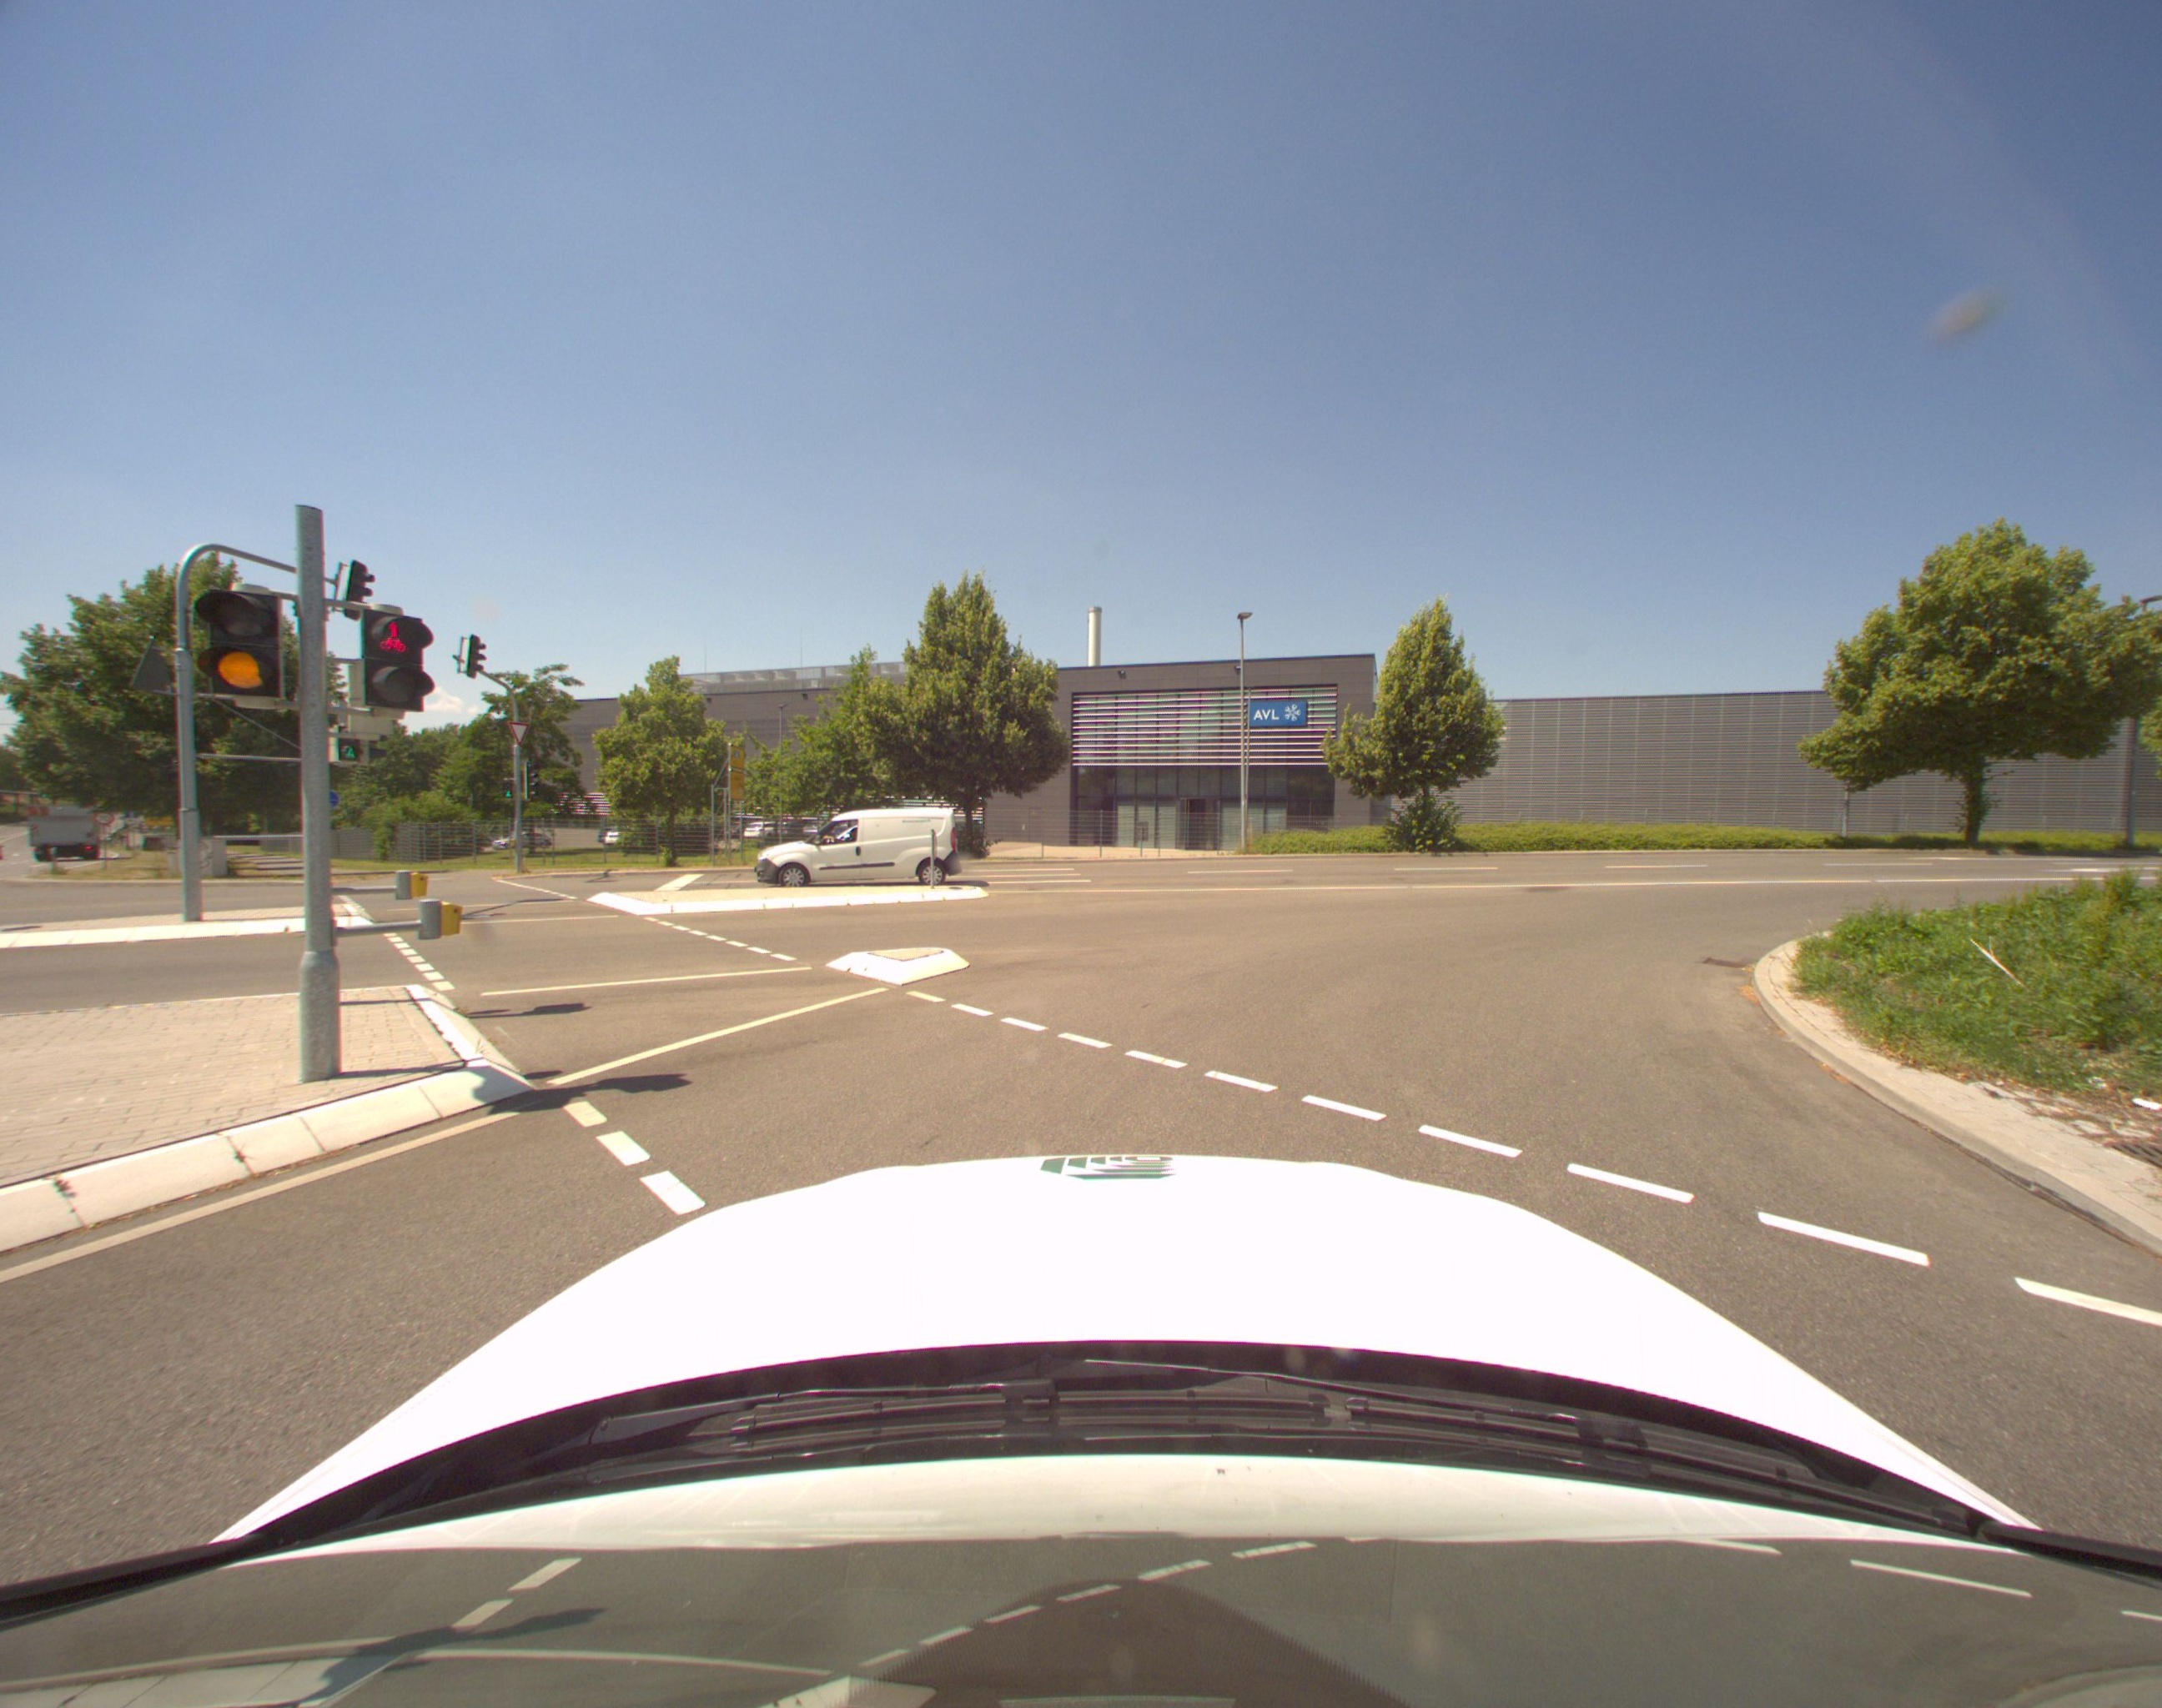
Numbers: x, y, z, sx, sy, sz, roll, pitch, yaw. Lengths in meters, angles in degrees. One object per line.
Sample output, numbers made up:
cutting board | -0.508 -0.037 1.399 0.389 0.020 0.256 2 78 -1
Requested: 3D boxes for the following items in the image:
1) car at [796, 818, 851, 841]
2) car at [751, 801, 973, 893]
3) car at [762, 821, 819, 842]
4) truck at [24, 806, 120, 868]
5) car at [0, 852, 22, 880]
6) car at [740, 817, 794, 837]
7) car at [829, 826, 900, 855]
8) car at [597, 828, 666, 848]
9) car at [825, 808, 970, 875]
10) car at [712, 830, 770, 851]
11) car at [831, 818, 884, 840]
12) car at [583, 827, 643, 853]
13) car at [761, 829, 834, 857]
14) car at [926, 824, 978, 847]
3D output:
car | -19.217 -1.850 60.885 1.899 1.516 4.019 -2 2 17
car | -5.100 -0.219 19.472 4.860 1.941 1.993 0 6 -13
car | -21.921 -1.736 61.565 1.978 1.486 4.018 -2 1 17
truck | -66.093 -1.085 53.492 6.125 3.839 3.297 -1 2 44
car | -79.328 0.910 59.575 3.949 2.013 2.013 -1 2 41
car | -24.130 -2.073 62.734 1.752 1.460 4.018 -2 1 17
car | -12.006 -0.792 45.457 1.978 1.486 4.018 -2 1 17
car | -27.954 -1.034 50.741 1.598 1.165 3.651 -2 1 17
car | -5.199 -0.400 23.280 3.856 1.706 1.993 0 6 -13
car | -26.518 -1.060 63.706 1.978 1.486 4.018 -2 1 17
car | -16.377 -1.862 59.851 1.800 1.528 4.018 -2 1 17
car | -39.103 -1.178 68.129 1.978 2.013 4.018 -2 1 17
car | -16.551 -0.677 47.782 1.978 1.486 4.018 -2 1 17
car | -9.060 -1.310 57.355 1.978 1.486 4.018 -2 1 17
